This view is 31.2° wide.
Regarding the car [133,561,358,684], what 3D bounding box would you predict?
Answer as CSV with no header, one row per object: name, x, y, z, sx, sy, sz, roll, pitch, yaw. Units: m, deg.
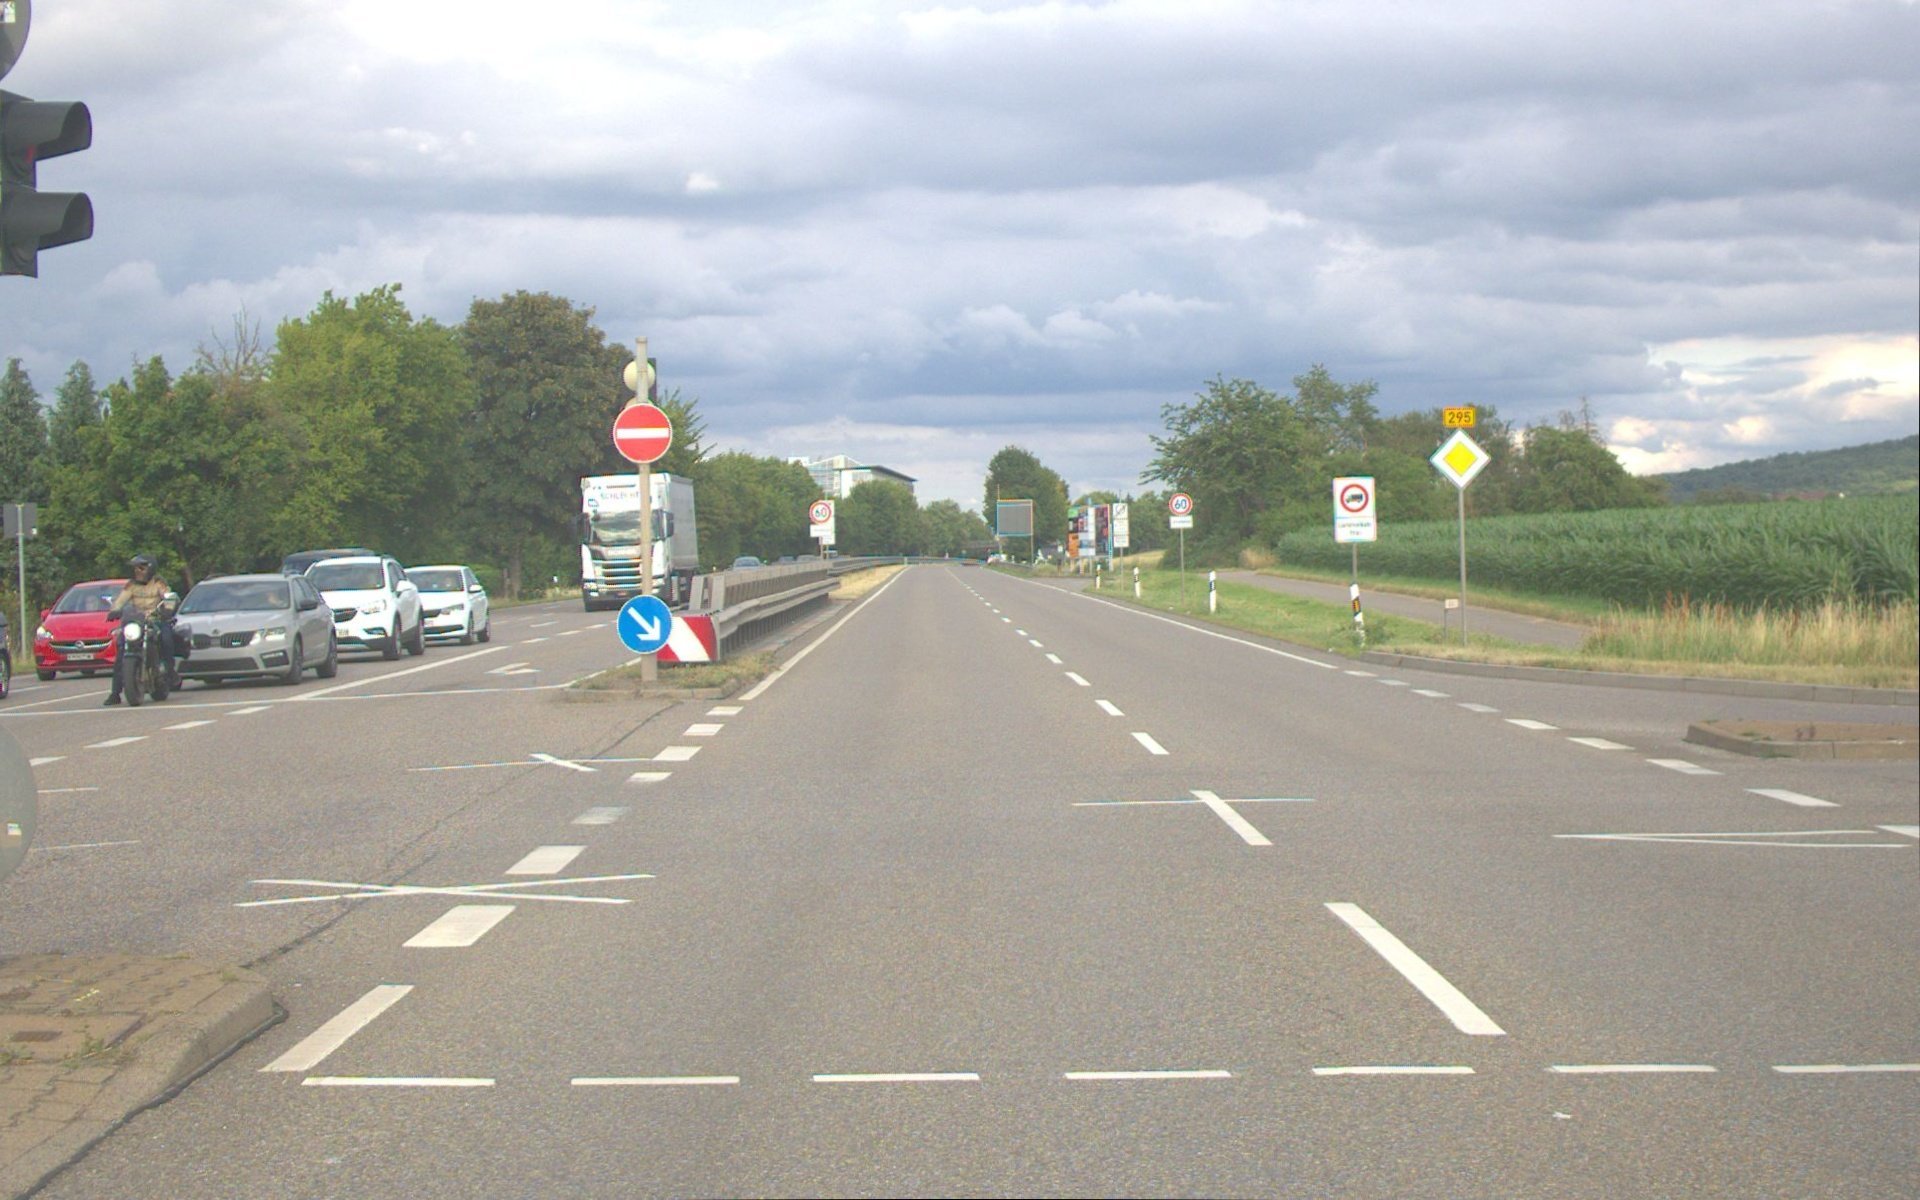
car,-9.305,0.251,45.189,1.907,1.423,5.152,-2,1,-1

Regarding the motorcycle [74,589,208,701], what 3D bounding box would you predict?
motorcycle,-9.417,0.496,39.638,0.916,1.199,2.479,-2,0,0

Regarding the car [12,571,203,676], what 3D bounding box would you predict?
car,-13.062,0.334,52.907,1.907,1.460,4.184,-2,1,-1

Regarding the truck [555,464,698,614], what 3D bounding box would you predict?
truck,-9.809,-1.791,101.691,3.474,4.136,6.050,-3,1,0

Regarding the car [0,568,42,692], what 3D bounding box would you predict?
car,-12.989,0.420,42.612,1.907,1.530,4.939,-2,1,-1

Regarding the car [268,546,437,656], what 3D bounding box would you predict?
car,-9.589,-0.015,54.543,1.907,1.604,4.405,-2,1,-1

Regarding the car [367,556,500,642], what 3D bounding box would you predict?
car,-9.578,-0.040,62.781,1.789,1.439,4.161,-2,1,-1

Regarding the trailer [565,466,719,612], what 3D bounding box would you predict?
trailer,-9.862,-1.905,108.235,3.465,4.136,13.917,-3,1,0

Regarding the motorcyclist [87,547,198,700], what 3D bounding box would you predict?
motorcyclist,-9.416,0.260,39.634,0.916,1.703,1.276,-2,0,0

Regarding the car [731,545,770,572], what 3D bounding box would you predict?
car,-11.104,-2.217,182.391,1.789,1.381,4.161,-2,1,-1
